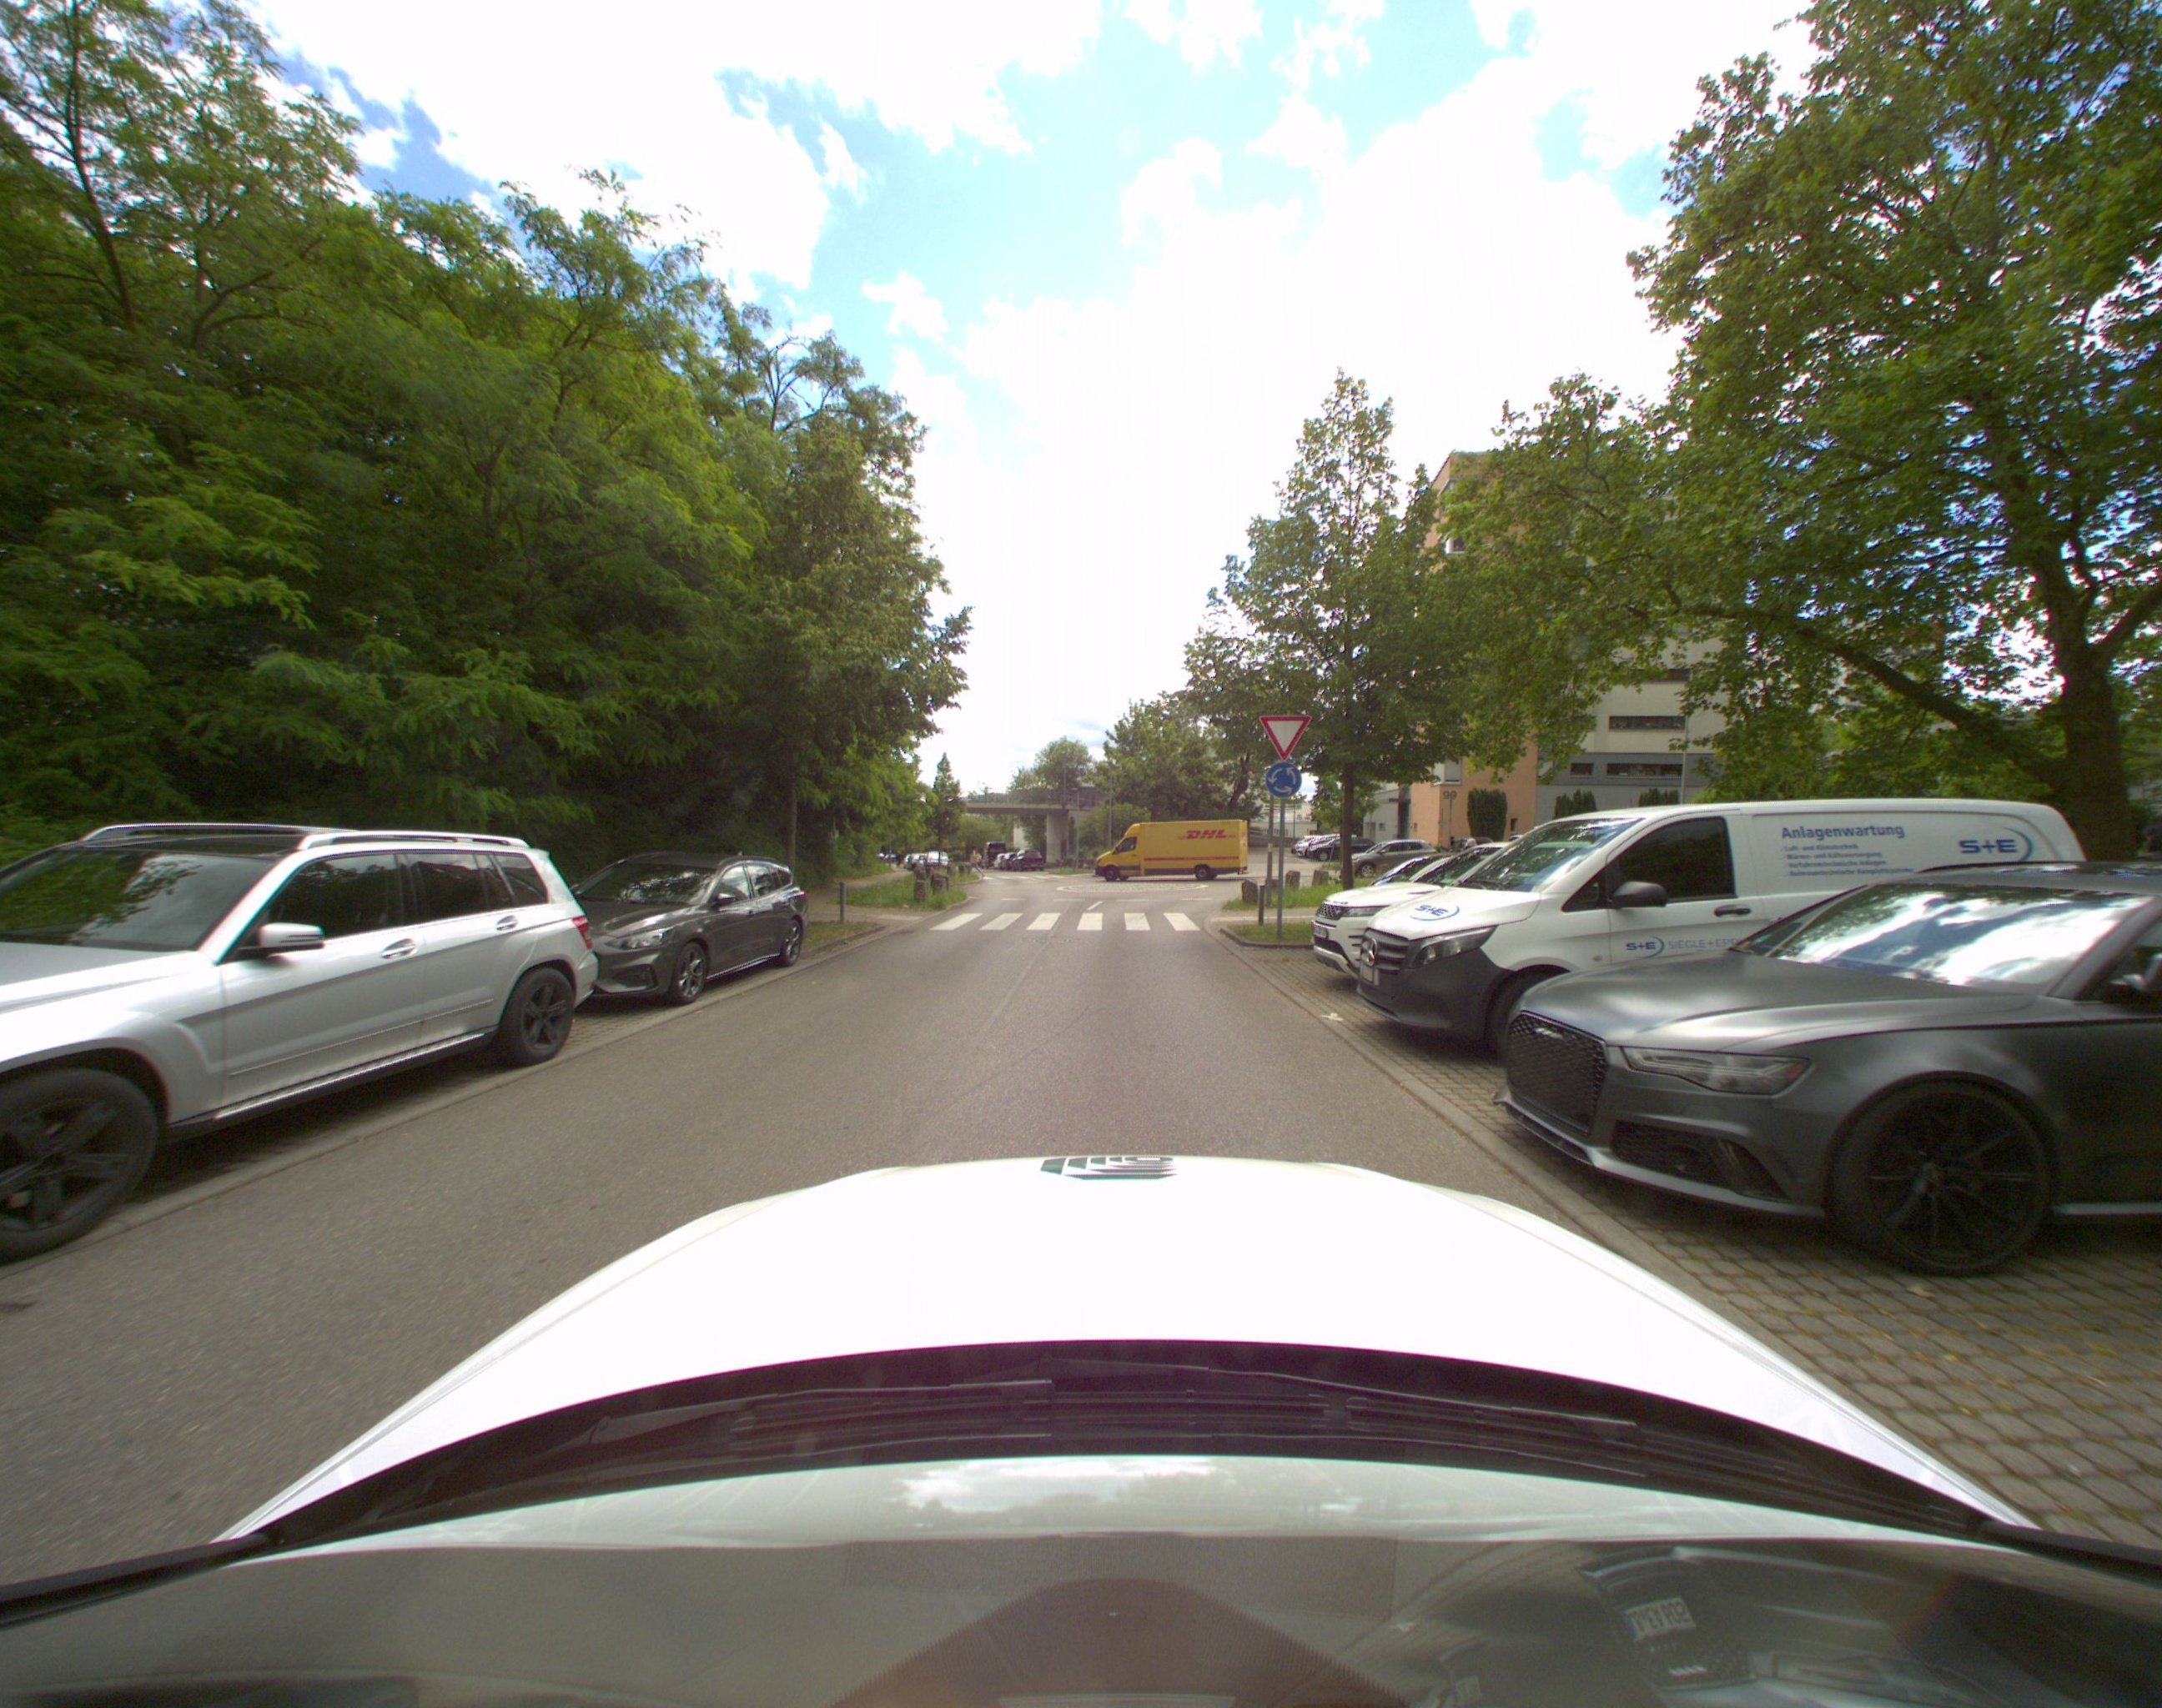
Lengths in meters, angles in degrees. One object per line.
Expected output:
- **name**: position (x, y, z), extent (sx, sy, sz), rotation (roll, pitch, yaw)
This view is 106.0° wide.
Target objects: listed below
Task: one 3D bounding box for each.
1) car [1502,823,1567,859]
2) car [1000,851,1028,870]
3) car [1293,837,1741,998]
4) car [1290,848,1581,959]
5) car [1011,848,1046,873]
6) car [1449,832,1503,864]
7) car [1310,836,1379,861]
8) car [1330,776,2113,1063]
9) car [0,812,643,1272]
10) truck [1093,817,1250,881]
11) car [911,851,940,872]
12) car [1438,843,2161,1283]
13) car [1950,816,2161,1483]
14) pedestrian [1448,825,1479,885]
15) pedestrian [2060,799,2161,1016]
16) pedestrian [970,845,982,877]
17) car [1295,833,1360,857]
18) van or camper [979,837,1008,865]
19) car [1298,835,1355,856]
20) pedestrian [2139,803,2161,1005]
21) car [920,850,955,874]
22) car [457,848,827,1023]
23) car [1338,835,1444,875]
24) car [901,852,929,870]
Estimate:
- **car**: position (22.220, -0.640, 40.065), extent (1.559, 1.658, 3.787), rotation (-2, 0, 9)
- **car**: position (-5.695, 0.568, 68.952), extent (1.702, 1.496, 4.097), rotation (-1, 0, -15)
- **car**: position (4.684, 0.641, 9.197), extent (4.136, 1.602, 1.739), rotation (1, 1, 0)
- **car**: position (5.052, 0.661, 11.870), extent (3.507, 1.461, 1.735), rotation (0, -1, -7)
- **car**: position (-4.118, 0.535, 62.813), extent (1.817, 1.679, 4.345), rotation (-1, -3, -16)
- **car**: position (19.663, -0.305, 40.693), extent (1.491, 1.476, 3.535), rotation (-1, 0, 9)
- **car**: position (16.572, -0.374, 51.356), extent (4.014, 1.517, 1.762), rotation (1, 1, 12)
- **car**: position (4.652, 0.449, 6.499), extent (4.756, 1.831, 1.843), rotation (-2, 0, 1)
- **car**: position (-4.693, 0.637, 4.590), extent (1.792, 1.615, 4.481), rotation (3, 1, 2)
- **truck**: position (4.212, -0.188, 37.783), extent (6.744, 2.702, 2.487), rotation (-2, 0, 20)
- **car**: position (-11.288, 0.521, 58.954), extent (1.887, 1.460, 3.530), rotation (0, 1, -14)
- **car**: position (4.020, 0.683, 3.934), extent (3.824, 1.371, 1.837), rotation (-2, 0, -10)
- **car**: position (4.329, 0.620, 1.297), extent (3.810, 1.520, 1.912), rotation (-2, 0, 1)
- **pedestrian**: position (10.974, 0.030, 23.387), extent (0.608, 1.665, 0.843), rotation (-2, 0, 13)
- **pedestrian**: position (8.531, 0.409, 6.503), extent (0.686, 1.657, 0.600), rotation (1, 0, 1)
- **pedestrian**: position (-5.744, 0.398, 44.487), extent (0.657, 1.721, 0.737), rotation (1, 0, -9)
- **car**: position (17.002, -0.626, 56.285), extent (4.095, 1.593, 1.697), rotation (1, 1, 8)
- **van or camper**: position (-8.618, -0.271, 80.001), extent (1.997, 2.523, 5.443), rotation (-2, 0, -15)
- **car**: position (18.311, -0.642, 60.944), extent (3.953, 1.517, 1.763), rotation (1, 1, 13)
- **pedestrian**: position (9.283, 0.417, 6.506), extent (0.866, 1.657, 0.593), rotation (1, 0, 1)
- **car**: position (-9.501, 0.513, 53.625), extent (1.790, 1.468, 3.977), rotation (0, 1, -17)
- **car**: position (-4.641, 0.708, 9.538), extent (1.683, 1.465, 4.459), rotation (3, 1, 2)
- **car**: position (13.453, 0.038, 35.467), extent (3.980, 1.618, 1.724), rotation (-1, 0, 2)
- **car**: position (-14.243, 0.586, 69.800), extent (1.890, 1.509, 4.425), rotation (1, -1, -18)
